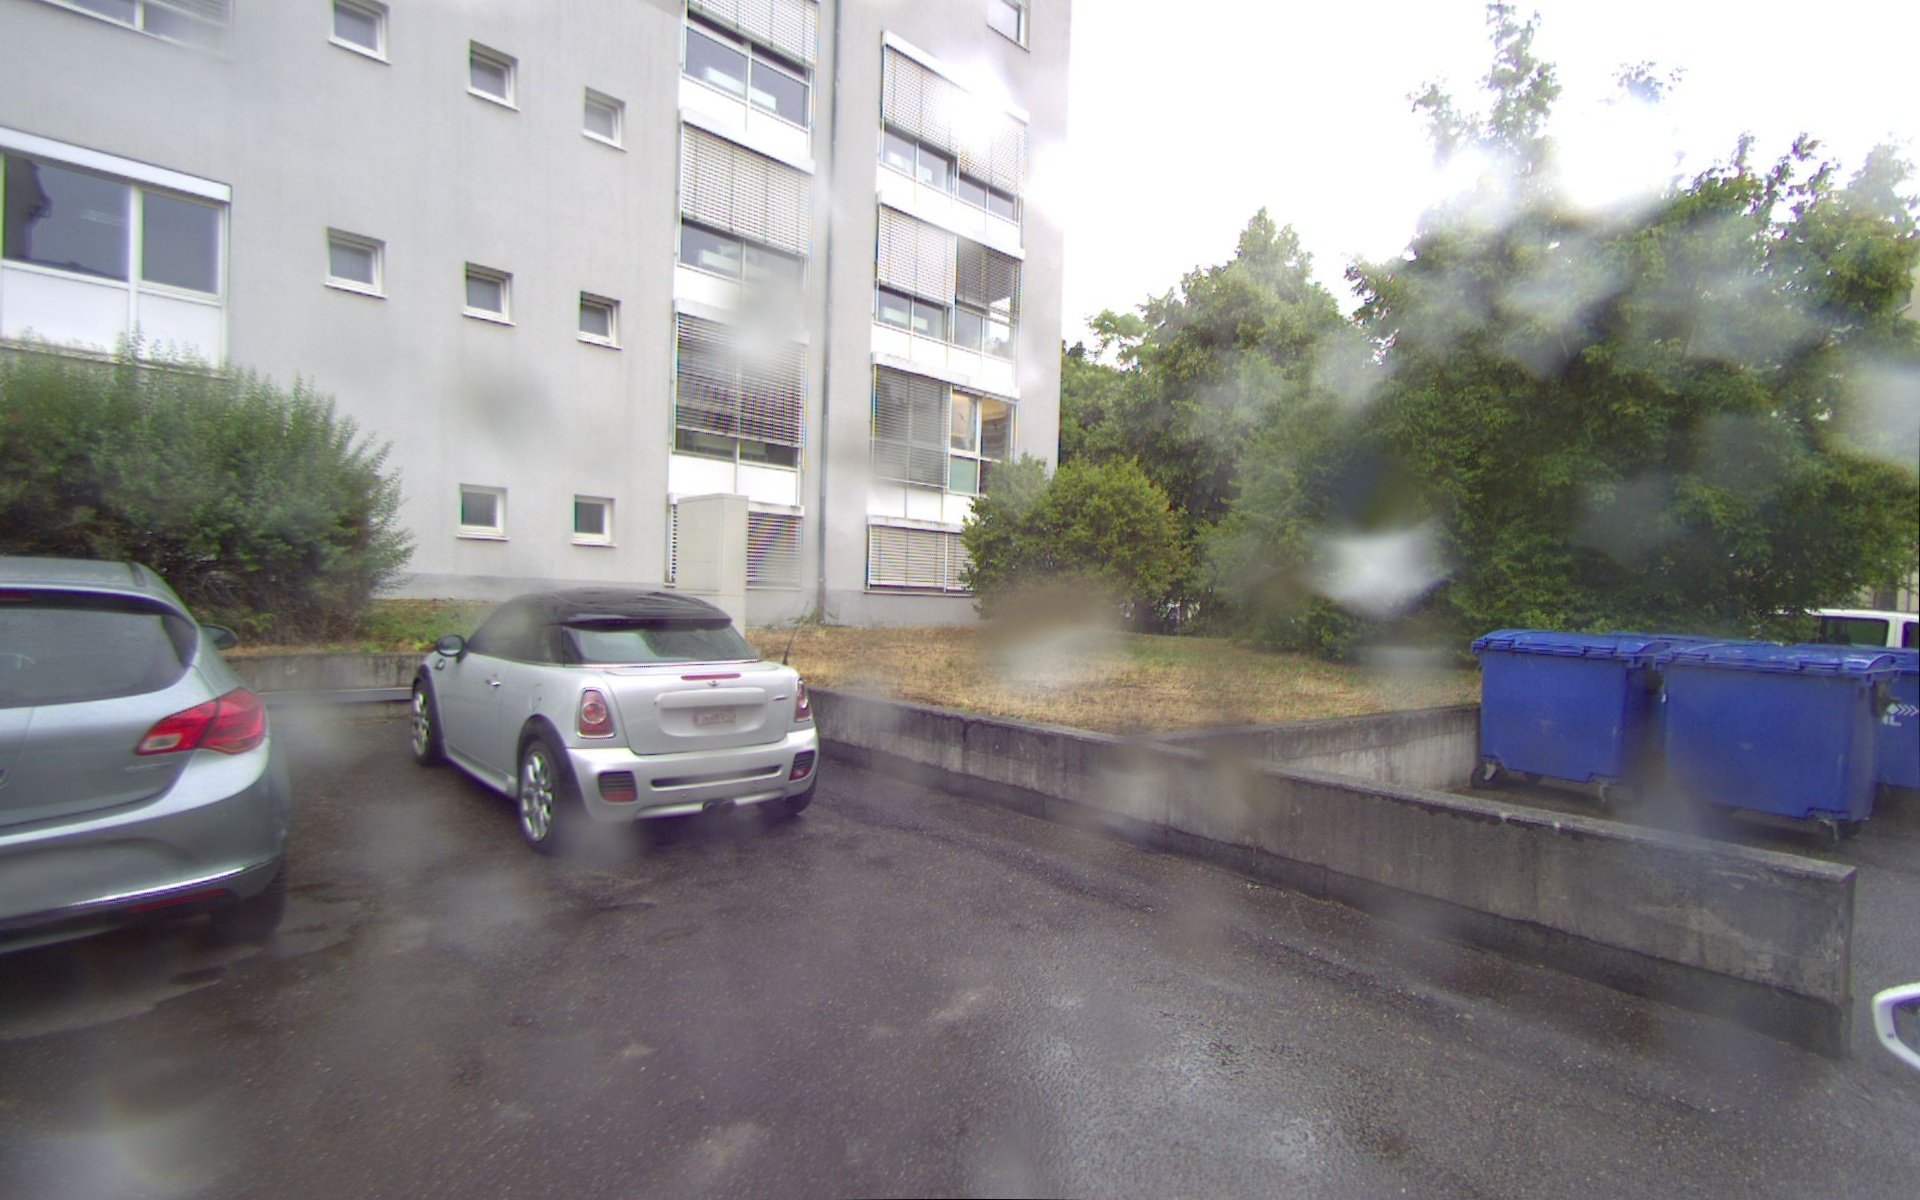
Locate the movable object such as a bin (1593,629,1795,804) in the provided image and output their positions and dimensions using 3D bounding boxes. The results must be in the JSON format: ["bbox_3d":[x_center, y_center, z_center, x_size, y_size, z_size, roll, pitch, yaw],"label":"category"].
[{"bbox_3d":[6.519,0.968,8.948,0.998,1.355,1.212,0,1,-38],"label":"movable object such as a bin"}]

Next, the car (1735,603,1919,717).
[{"bbox_3d":[18.012,1.122,19.188,1.982,2.040,4.744,1,0,-38],"label":"car"}]

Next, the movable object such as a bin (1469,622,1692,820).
[{"bbox_3d":[5.043,0.911,8.192,1.107,1.355,1.193,-1,4,-38],"label":"movable object such as a bin"}]

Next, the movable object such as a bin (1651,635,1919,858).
[{"bbox_3d":[5.873,0.965,7.176,1.105,1.355,1.195,2,0,-35],"label":"movable object such as a bin"}]

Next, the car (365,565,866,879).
[{"bbox_3d":[-2.642,0.550,7.018,1.809,1.351,4.126,1,4,-42],"label":"car"}]

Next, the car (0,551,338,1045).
[{"bbox_3d":[-4.343,0.545,4.518,1.810,1.503,4.124,1,1,-44],"label":"car"}]

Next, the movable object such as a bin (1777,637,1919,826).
[{"bbox_3d":[7.408,1.006,7.977,0.998,1.355,1.212,1,1,-38],"label":"movable object such as a bin"}]
